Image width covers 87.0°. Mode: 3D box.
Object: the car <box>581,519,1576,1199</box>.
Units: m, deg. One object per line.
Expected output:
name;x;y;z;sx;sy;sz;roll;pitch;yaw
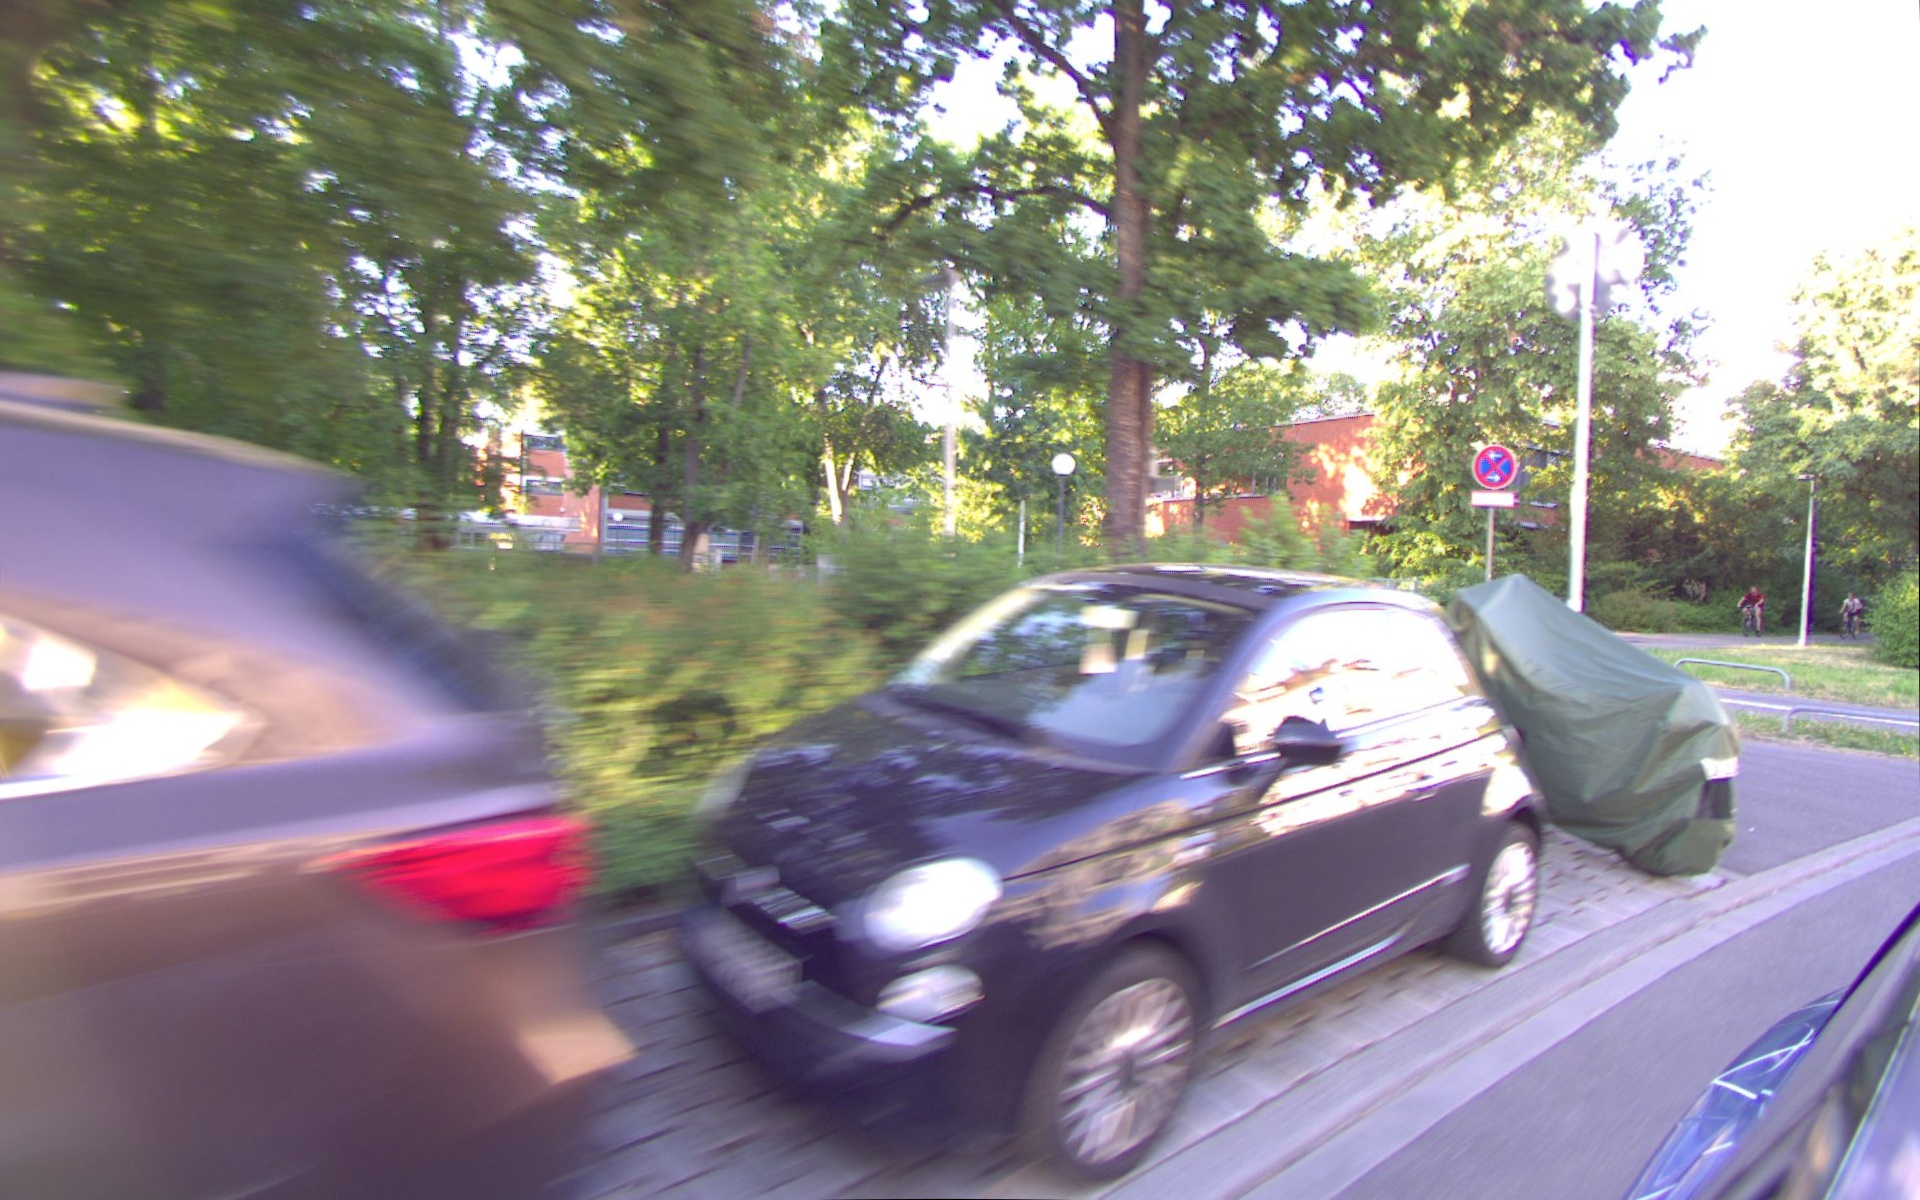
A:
car;0.632;0.564;3.606;3.358;1.505;1.624;0;3;-40

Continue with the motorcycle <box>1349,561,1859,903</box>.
motorcycle;3.583;0.585;5.970;1.018;1.564;2.304;1;2;-24

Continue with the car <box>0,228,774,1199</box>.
car;-2.639;0.473;0.739;4.587;1.770;1.925;0;3;-43

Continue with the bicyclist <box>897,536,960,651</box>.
bicyclist;-0.470;-0.107;15.094;0.710;1.665;0.534;1;2;-34
